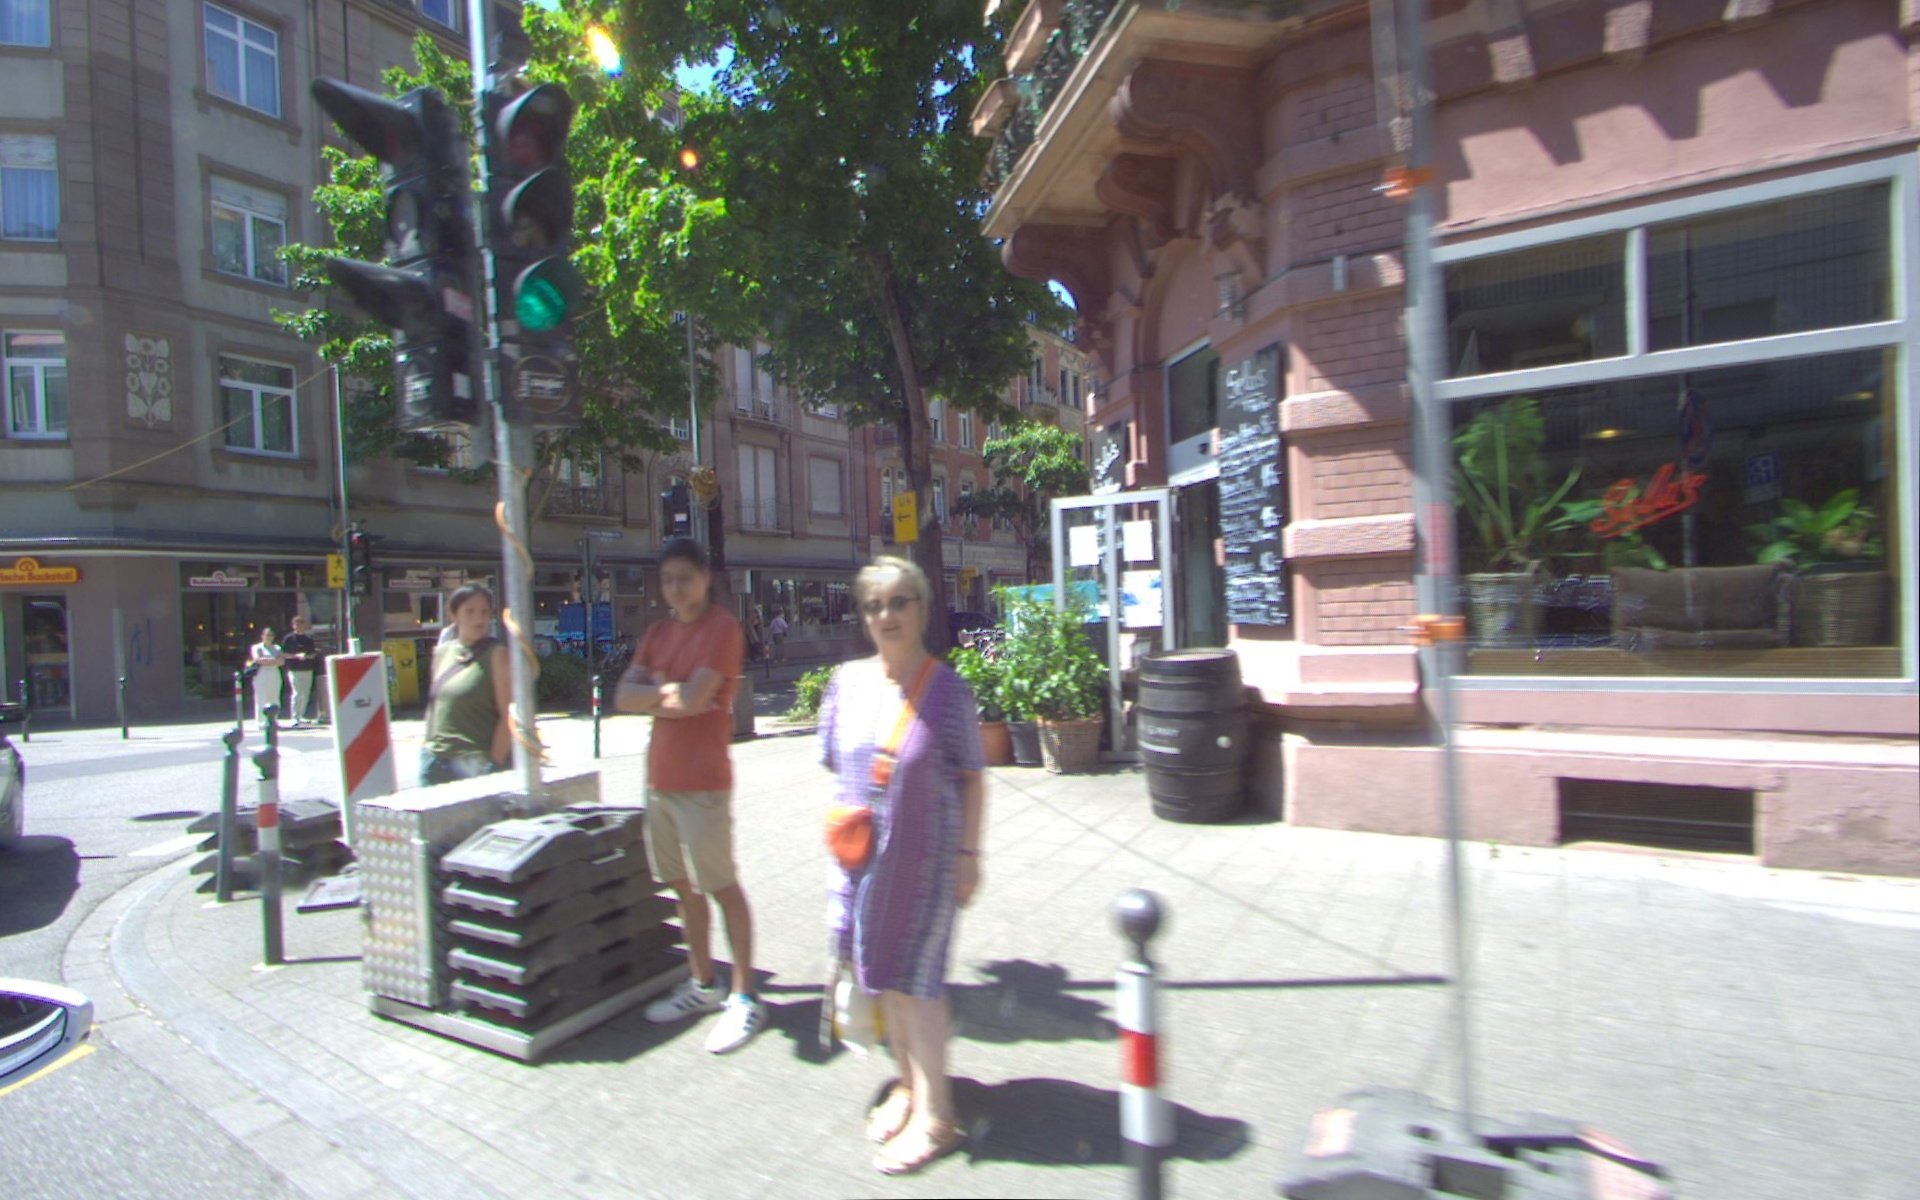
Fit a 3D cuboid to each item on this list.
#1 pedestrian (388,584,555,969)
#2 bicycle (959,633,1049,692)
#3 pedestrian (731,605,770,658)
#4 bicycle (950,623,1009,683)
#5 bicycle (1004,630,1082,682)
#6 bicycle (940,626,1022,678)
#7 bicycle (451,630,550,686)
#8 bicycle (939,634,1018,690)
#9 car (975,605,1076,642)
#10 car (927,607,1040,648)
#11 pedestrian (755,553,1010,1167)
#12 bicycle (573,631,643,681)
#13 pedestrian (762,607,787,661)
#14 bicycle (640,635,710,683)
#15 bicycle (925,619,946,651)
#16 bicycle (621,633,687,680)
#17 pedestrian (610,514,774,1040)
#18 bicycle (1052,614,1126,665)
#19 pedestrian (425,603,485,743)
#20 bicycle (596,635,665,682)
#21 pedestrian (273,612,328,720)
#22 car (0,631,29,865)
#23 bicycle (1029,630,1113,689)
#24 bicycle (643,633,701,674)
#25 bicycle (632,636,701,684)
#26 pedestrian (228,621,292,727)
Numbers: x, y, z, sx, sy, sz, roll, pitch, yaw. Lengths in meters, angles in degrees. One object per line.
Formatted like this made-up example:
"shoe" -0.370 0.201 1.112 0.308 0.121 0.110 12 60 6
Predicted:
"pedestrian" -2.156 0.728 4.430 0.473 1.581 0.458 -2 0 37
"bicycle" 0.779 1.044 17.155 0.502 0.883 2.062 -2 0 35
"pedestrian" -6.660 1.003 31.842 0.776 1.655 0.854 -2 0 31
"bicycle" 0.428 1.066 20.536 0.501 1.121 1.778 -2 0 25
"bicycle" 1.621 1.061 19.269 0.502 0.883 2.062 -2 0 35
"bicycle" 0.435 0.992 19.375 0.502 0.883 2.062 -2 0 35
"bicycle" -10.442 1.305 22.823 1.965 1.147 0.512 -2 0 -41
"bicycle" 0.344 1.077 17.763 0.502 0.883 1.734 -2 0 35
"car" 2.725 0.986 41.759 3.795 1.458 1.785 -1 0 29
"car" 0.858 1.023 37.265 3.795 1.458 1.785 -1 0 29
"pedestrian" -0.211 0.664 2.861 0.431 1.564 0.491 -2 2 37
"bicycle" -8.463 1.327 24.143 0.463 1.095 1.759 0 1 27
"pedestrian" -5.797 1.063 31.347 0.552 1.636 0.489 -1 1 36
"bicycle" -6.540 1.336 23.048 0.463 1.010 1.759 0 1 27
"bicycle" -0.858 1.205 34.938 0.534 1.059 1.937 -2 0 -6
"bicycle" -7.294 1.335 23.970 0.463 1.019 1.682 0 1 27
"pedestrian" -0.929 0.576 3.477 0.396 1.697 0.331 -2 0 37
"bicycle" 2.514 0.749 19.342 0.502 0.883 2.062 -2 0 35
"pedestrian" -6.600 0.941 13.081 0.473 1.755 0.865 -2 -1 -39
"bicycle" -7.930 1.384 24.153 0.463 1.010 1.759 0 1 27
"pedestrian" -11.402 1.123 17.322 0.463 1.794 0.575 2 4 23
"car" -6.664 0.938 5.757 1.600 1.504 3.217 0 -2 -37
"bicycle" 1.943 1.009 17.295 0.502 0.883 2.062 -2 0 35
"bicycle" -7.902 1.462 27.563 0.497 1.010 1.722 0 1 27
"bicycle" -6.871 1.376 23.490 0.463 1.010 1.759 0 1 27
"pedestrian" -11.623 1.210 16.637 0.415 1.669 0.701 2 4 23
